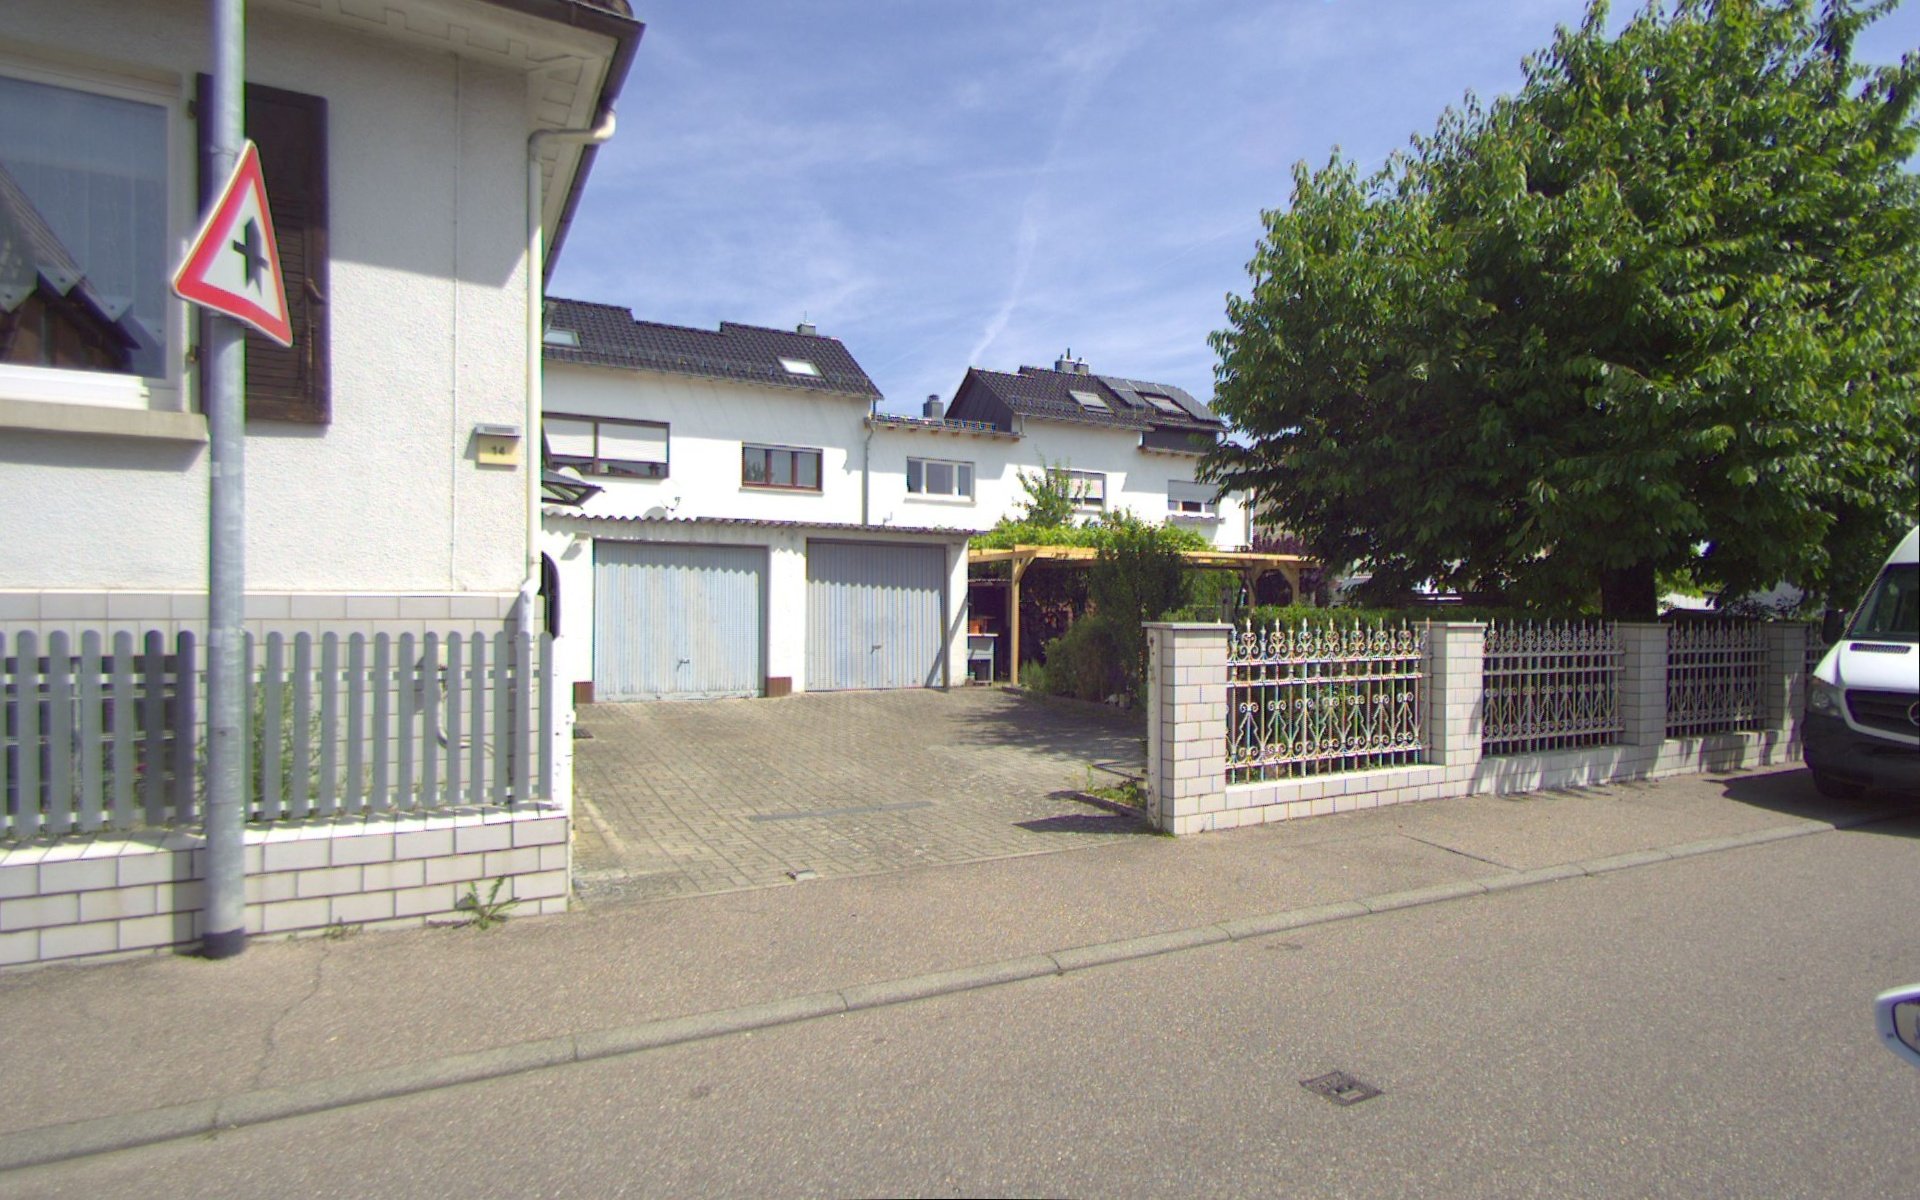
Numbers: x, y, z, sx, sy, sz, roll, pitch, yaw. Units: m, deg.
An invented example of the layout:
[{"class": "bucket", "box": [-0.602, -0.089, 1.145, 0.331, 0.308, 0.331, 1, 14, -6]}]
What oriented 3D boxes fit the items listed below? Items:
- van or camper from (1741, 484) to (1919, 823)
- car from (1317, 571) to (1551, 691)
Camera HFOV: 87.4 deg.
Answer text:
[{"class": "van or camper", "box": [10.279, 0.474, 9.418, 6.724, 2.606, 2.175, 1, 0, -29]}, {"class": "car", "box": [11.010, 0.687, 23.747, 1.942, 2.526, 4.781, 1, -1, -29]}]
